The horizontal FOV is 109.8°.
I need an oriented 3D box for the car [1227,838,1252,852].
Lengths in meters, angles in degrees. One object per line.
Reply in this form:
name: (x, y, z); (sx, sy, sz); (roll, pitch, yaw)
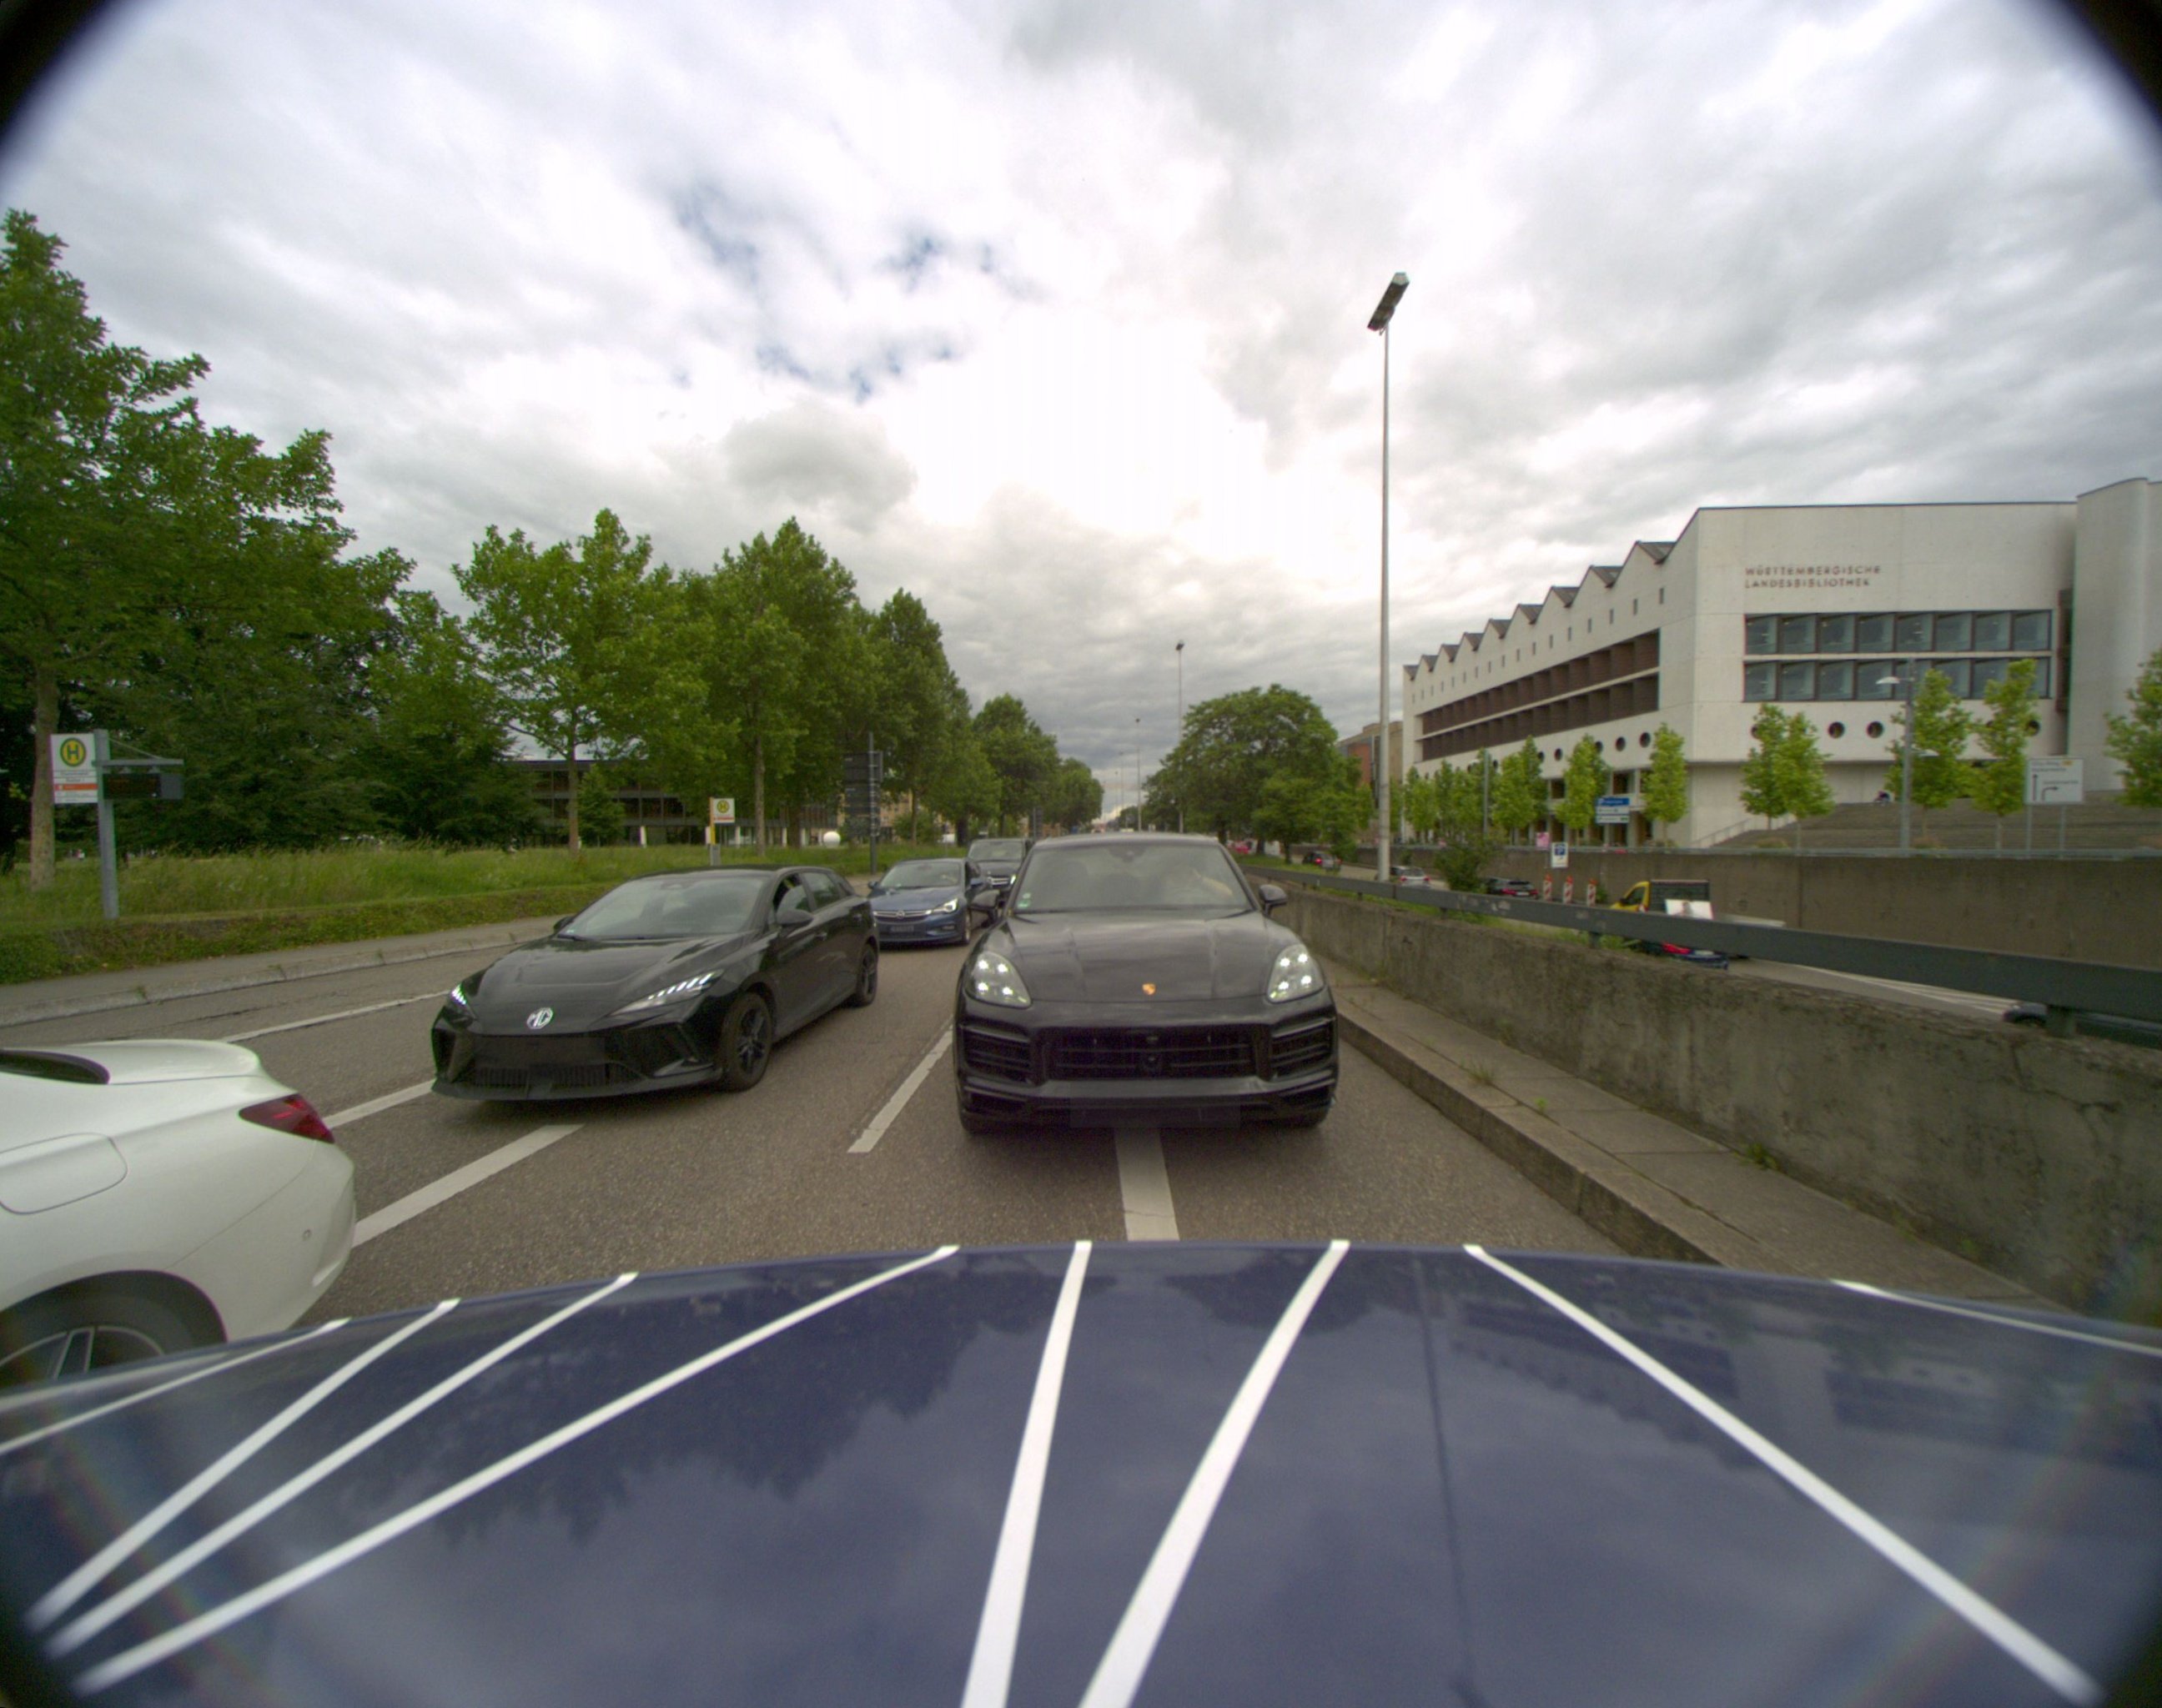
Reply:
car: (17.213, -0.973, 82.840); (1.998, 1.477, 4.000); (-1, 1, 2)

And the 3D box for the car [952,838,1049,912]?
car: (-2.128, 0.478, 21.442); (2.021, 1.823, 4.804); (-1, 1, 2)

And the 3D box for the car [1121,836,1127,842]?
car: (11.137, -3.882, 195.211); (1.525, 1.389, 3.479); (-1, -1, 3)

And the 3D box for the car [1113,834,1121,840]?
car: (10.814, -5.054, 228.384); (1.998, 1.753, 3.999); (2, 2, 0)

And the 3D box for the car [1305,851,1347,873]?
car: (18.059, 0.567, 56.166); (1.880, 1.539, 3.999); (-1, 1, 1)

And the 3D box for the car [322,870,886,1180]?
car: (-3.104, 0.975, 6.154); (1.852, 1.481, 4.092); (-1, 1, 2)

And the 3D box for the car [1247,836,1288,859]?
car: (17.519, -0.598, 71.793); (2.225, 2.002, 5.113); (-1, 1, -5)

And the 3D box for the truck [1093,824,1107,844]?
truck: (3.660, -3.804, 143.027); (2.357, 3.518, 9.423); (-3, 2, 2)

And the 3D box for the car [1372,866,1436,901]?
car: (17.752, 1.587, 41.912); (1.717, 1.533, 3.906); (-3, 2, -2)

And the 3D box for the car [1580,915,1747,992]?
car: (17.165, 2.867, 22.672); (1.816, 1.562, 4.168); (-3, 2, 1)

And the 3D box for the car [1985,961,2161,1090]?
car: (20.308, 3.302, 13.890); (2.168, 1.757, 4.391); (1, 4, 0)

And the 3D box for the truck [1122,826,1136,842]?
truck: (10.596, -4.445, 169.017); (2.576, 3.289, 8.078); (-3, 2, 2)

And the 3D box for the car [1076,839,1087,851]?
car: (0.060, -1.610, 134.672); (1.693, 2.002, 3.999); (-3, 2, 2)

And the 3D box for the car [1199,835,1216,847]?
car: (20.004, -2.078, 120.530); (1.998, 1.753, 3.999); (2, 2, 0)

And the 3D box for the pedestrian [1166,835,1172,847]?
pedestrian: (14.692, -2.218, 126.910); (0.792, 2.002, 0.741); (-1, 0, 2)

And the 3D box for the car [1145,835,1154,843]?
car: (12.111, -2.673, 134.360); (1.372, 1.390, 3.721); (2, 1, 0)

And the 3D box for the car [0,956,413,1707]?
car: (-3.181, 1.102, 0.221); (1.799, 1.412, 4.526); (-1, 1, 2)

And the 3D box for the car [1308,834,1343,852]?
car: (26.311, -1.141, 81.870); (2.180, 1.844, 4.735); (-1, 1, -1)

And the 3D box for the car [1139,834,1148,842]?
car: (11.700, -2.979, 141.844); (1.372, 1.390, 3.721); (2, 1, 0)

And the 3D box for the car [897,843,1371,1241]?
car: (0.341, 0.753, 5.475); (1.904, 1.581, 4.732); (-1, 1, 3)

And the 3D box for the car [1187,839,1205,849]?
car: (16.656, -1.493, 110.106); (1.998, 1.390, 3.999); (2, 1, 0)

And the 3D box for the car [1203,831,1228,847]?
car: (16.744, -1.903, 94.924); (1.998, 1.630, 5.247); (5, 3, 0)

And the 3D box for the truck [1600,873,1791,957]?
truck: (20.462, 1.929, 25.739); (2.188, 2.386, 5.380); (-1, 0, 2)

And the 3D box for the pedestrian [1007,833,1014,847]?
pedestrian: (-10.725, -2.117, 115.459); (0.892, 2.002, 1.181); (-3, 2, 2)

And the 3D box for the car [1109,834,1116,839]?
car: (10.875, -5.954, 261.041); (1.998, 1.753, 3.999); (2, 2, 0)

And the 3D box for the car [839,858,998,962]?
car: (-2.664, 0.851, 13.461); (1.805, 1.426, 4.015); (-1, 1, 2)

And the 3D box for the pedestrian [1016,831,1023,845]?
pedestrian: (-9.112, -2.394, 112.720); (0.892, 2.002, 1.181); (-3, 2, 2)
